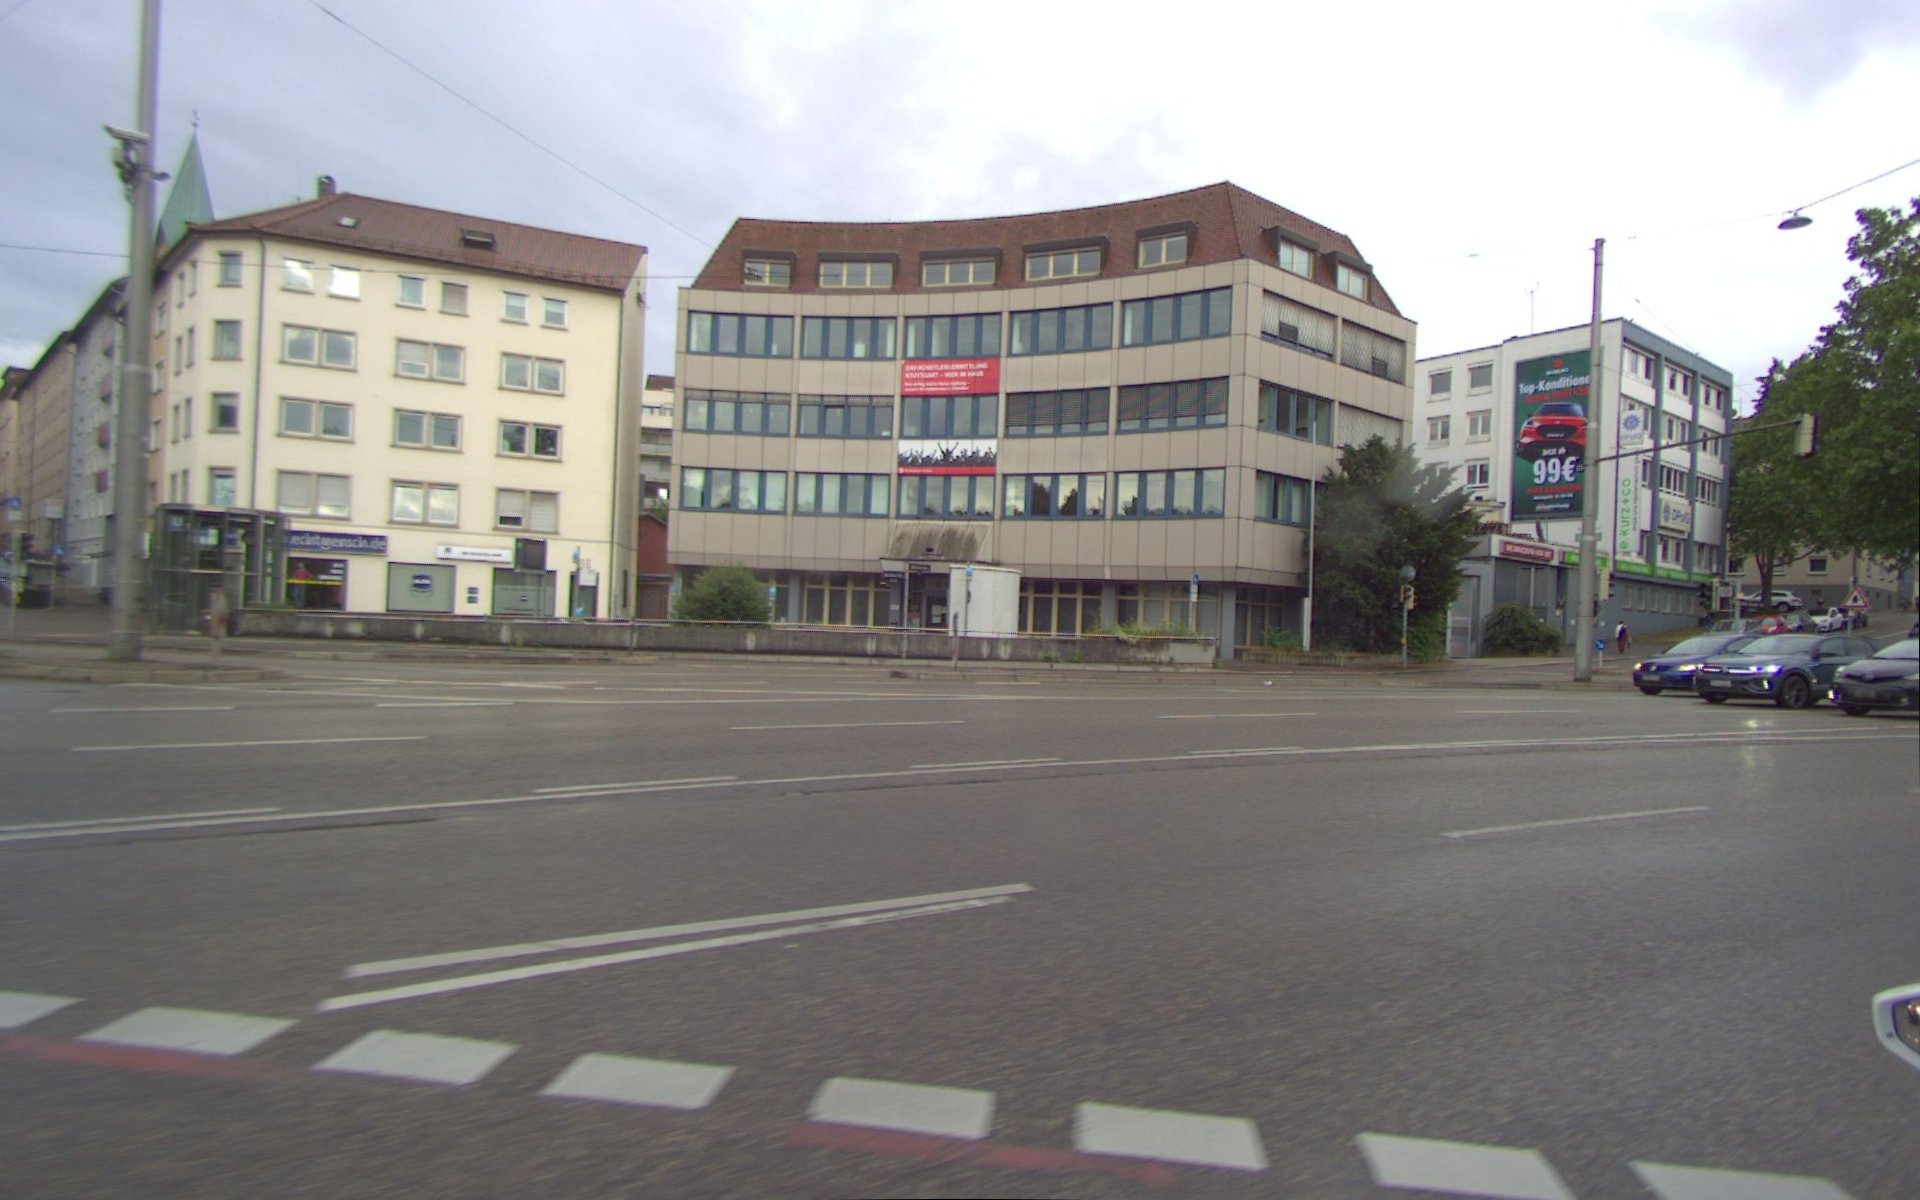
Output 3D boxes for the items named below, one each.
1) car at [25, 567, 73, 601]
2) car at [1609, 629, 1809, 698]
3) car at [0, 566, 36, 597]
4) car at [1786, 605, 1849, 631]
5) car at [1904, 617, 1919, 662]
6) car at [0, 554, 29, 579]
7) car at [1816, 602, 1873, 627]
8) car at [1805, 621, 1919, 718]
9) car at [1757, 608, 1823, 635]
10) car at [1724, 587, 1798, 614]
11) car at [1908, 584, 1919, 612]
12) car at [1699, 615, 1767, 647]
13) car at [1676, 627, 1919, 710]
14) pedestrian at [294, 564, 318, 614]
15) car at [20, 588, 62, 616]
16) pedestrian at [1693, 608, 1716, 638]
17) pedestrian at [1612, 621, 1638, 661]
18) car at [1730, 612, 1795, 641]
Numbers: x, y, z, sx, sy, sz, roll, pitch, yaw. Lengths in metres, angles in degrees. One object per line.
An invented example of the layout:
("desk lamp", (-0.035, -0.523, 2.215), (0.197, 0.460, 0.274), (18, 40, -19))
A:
("car", (-47.789, -0.809, 52.659), (1.749, 1.611, 3.748), (3, -2, -43))
("car", (18.452, 1.552, 24.800), (4.050, 1.532, 1.764), (3, -2, -13))
("car", (-53.137, -1.029, 56.299), (1.906, 1.611, 3.949), (3, -2, -43))
("car", (53.973, 1.099, 63.223), (4.022, 1.450, 1.824), (-3, 1, -31))
("car", (45.702, 1.865, 46.926), (3.969, 1.893, 1.913), (-2, 3, -42))
("car", (-67.393, -2.376, 71.255), (1.906, 1.611, 3.948), (4, 0, -43))
("car", (58.028, 0.946, 65.880), (4.026, 1.450, 1.822), (-2, 1, -34))
("car", (18.090, 1.282, 18.368), (4.517, 1.643, 1.854), (2, -2, -16))
("car", (50.111, 1.276, 60.616), (4.022, 1.450, 1.824), (-3, 1, -31))
("car", (64.780, 0.025, 81.240), (1.984, 2.032, 4.380), (3, -2, -40))
("car", (78.262, -0.160, 81.062), (3.965, 2.040, 1.978), (3, -2, -38))
("car", (42.201, 1.678, 54.844), (4.135, 1.483, 1.821), (-3, 1, -36))
("car", (17.564, 1.424, 21.092), (4.160, 1.532, 1.819), (3, -2, -13))
("pedestrian", (-27.079, -0.435, 41.616), (0.668, 2.040, 0.564), (3, -1, -25))
("car", (-43.603, 0.094, 47.659), (1.395, 1.246, 3.123), (3, -2, -43))
("pedestrian", (44.014, 1.358, 59.379), (0.972, 1.740, 0.833), (3, -2, -36))
("pedestrian", (34.080, 2.099, 51.467), (0.972, 2.040, 0.833), (3, -2, -36))
("car", (46.455, 1.493, 58.126), (4.027, 1.450, 1.822), (-3, 1, -34))
